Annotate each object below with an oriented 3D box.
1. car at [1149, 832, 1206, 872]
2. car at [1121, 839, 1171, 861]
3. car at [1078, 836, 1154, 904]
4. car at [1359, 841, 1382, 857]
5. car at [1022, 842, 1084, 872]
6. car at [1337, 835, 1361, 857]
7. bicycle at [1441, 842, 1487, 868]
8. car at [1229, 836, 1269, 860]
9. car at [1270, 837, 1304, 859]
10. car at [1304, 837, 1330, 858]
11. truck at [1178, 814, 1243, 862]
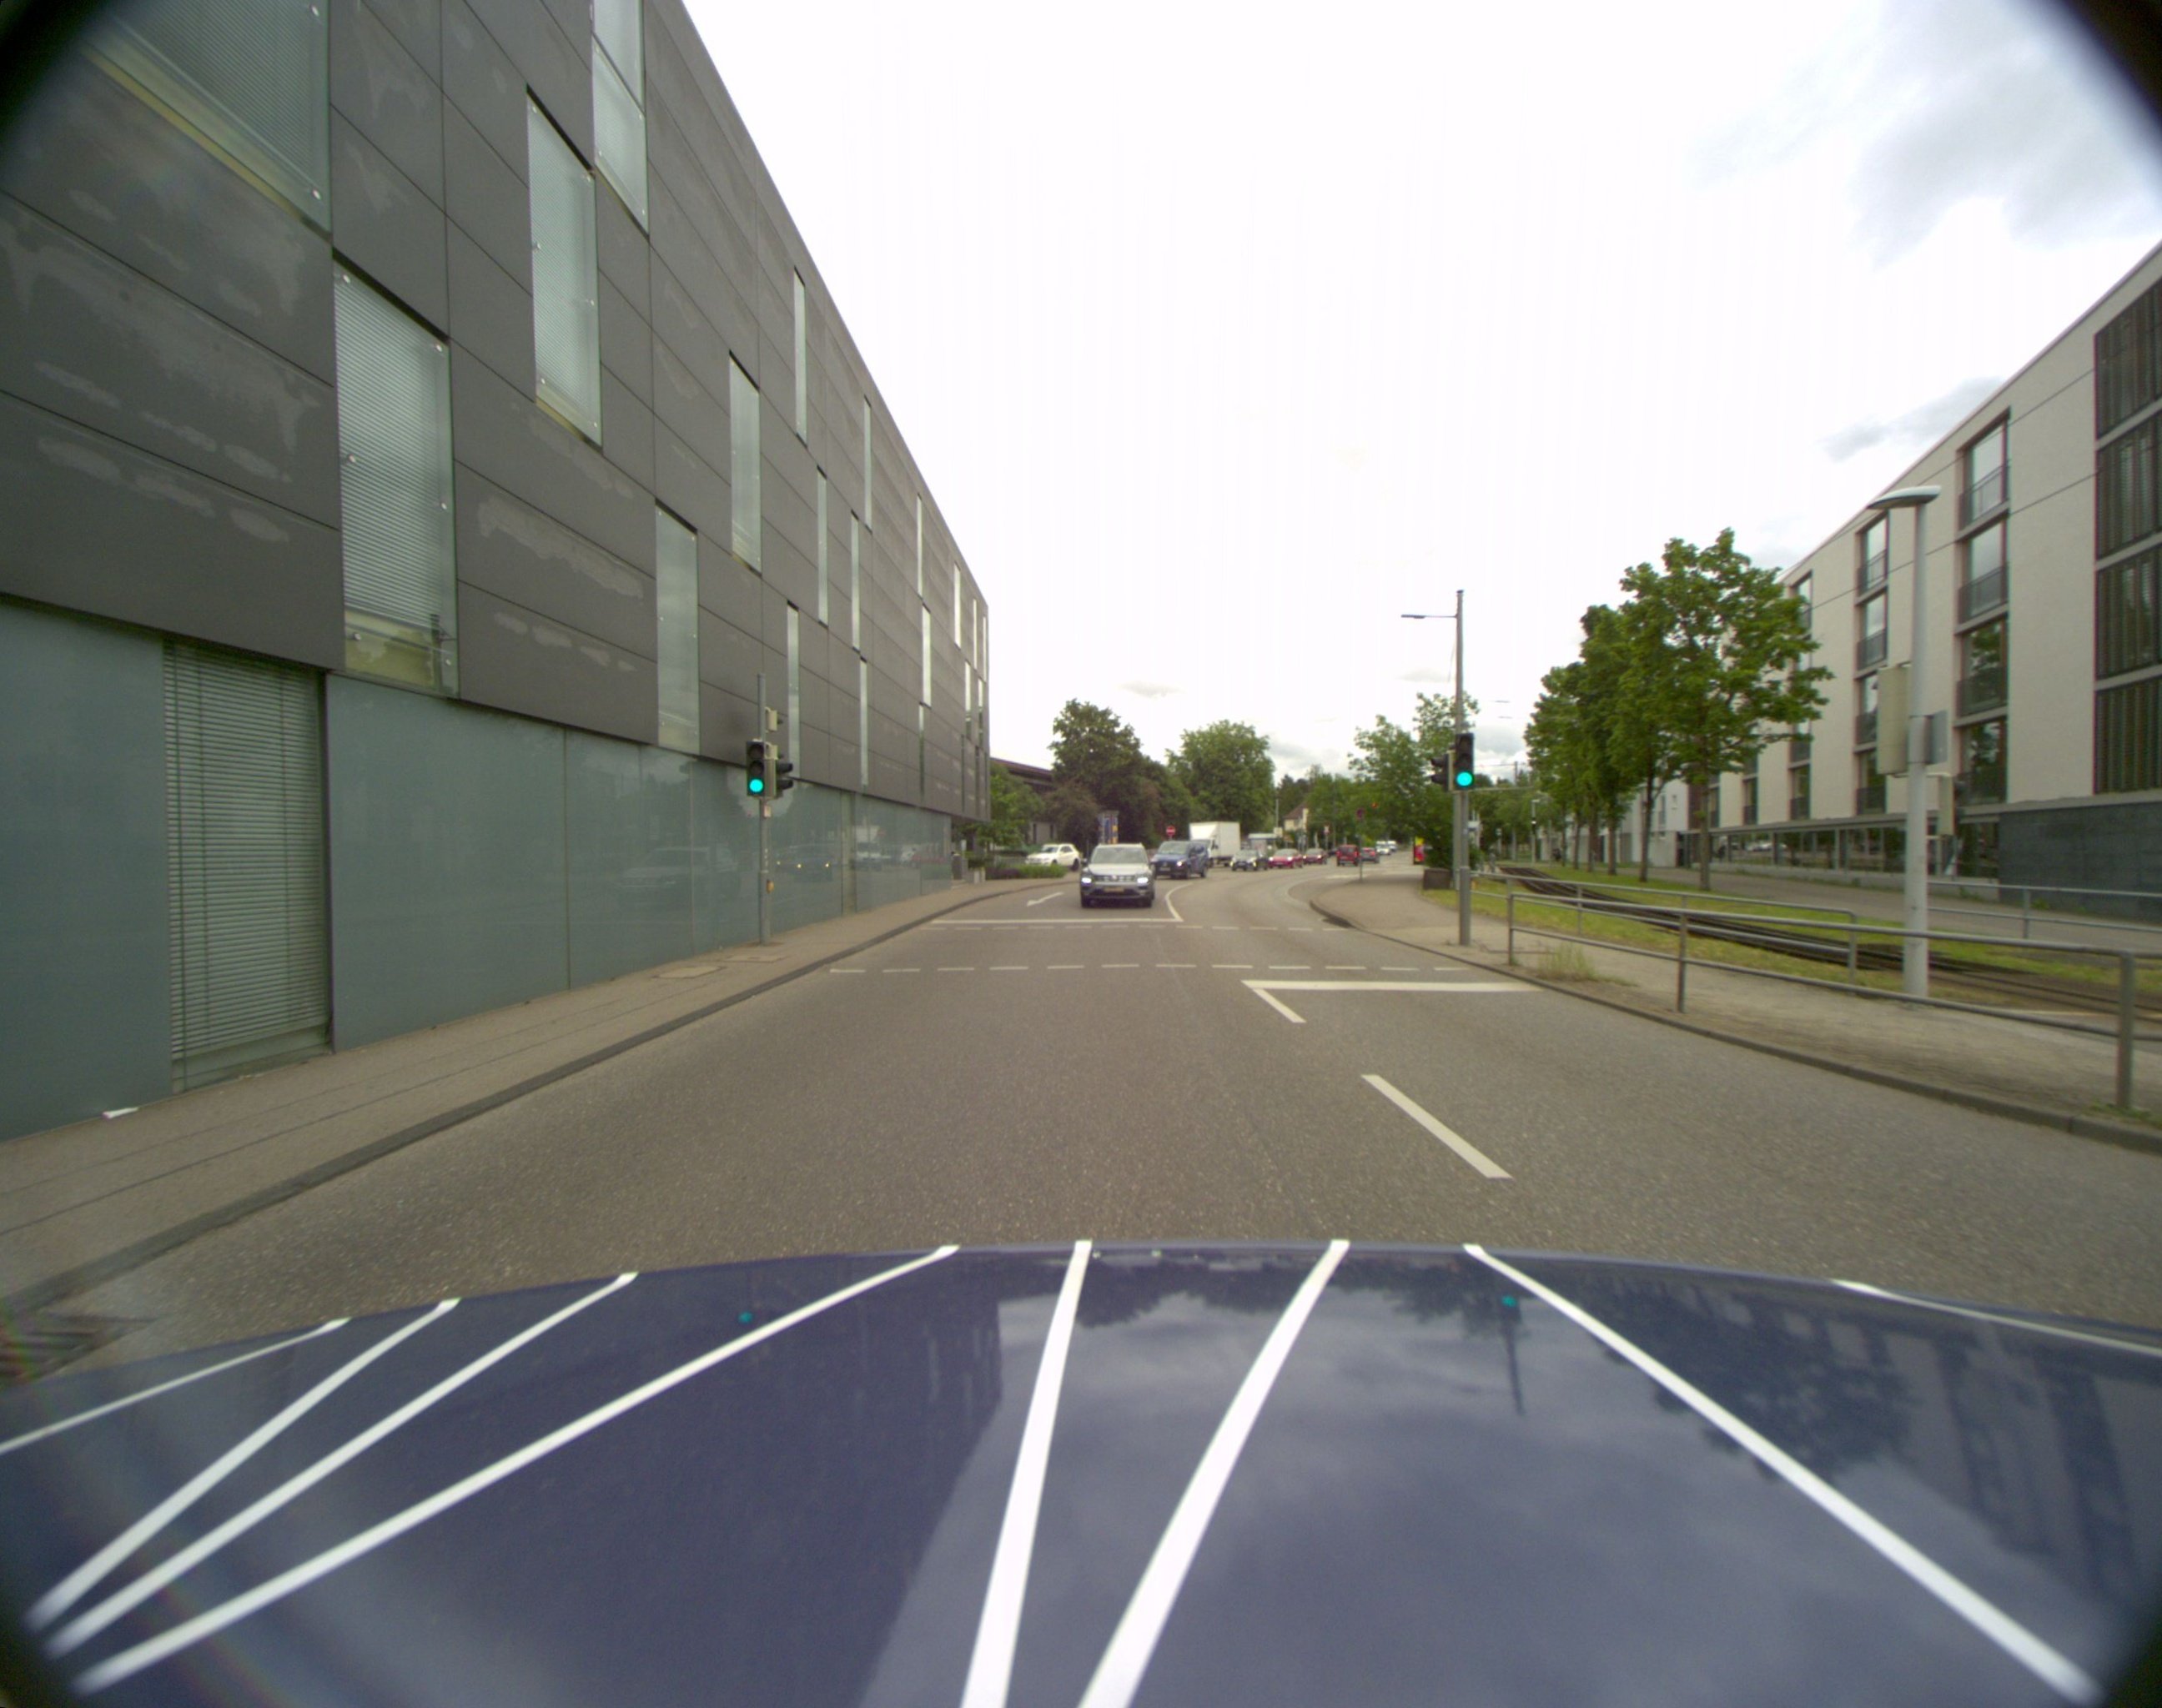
[{"bbox_3d":[4.847,-0.137,37.736,1.846,1.850,4.005,-1,2,22],"label":"car"},{"bbox_3d":[5.213,-0.342,61.270,3.894,1.475,1.683,-3,1,3],"label":"car"},{"bbox_3d":[1.063,0.347,20.738,1.810,1.638,4.331,-1,1,5],"label":"car"},{"bbox_3d":[28.456,-0.546,74.737,1.769,1.470,4.006,1,2,26],"label":"car"},{"bbox_3d":[-1.714,0.145,48.364,1.853,1.748,4.729,0,2,27],"label":"car"},{"bbox_3d":[23.259,-0.749,65.935,1.682,1.798,4.358,1,2,23],"label":"car"},{"bbox_3d":[16.577,0.044,32.891,1.749,1.040,0.409,-2,1,29],"label":"bicycle"},{"bbox_3d":[11.335,-0.397,51.134,1.846,1.526,4.006,1,1,23],"label":"car"},{"bbox_3d":[15.462,-0.470,56.837,1.846,1.526,4.006,1,1,23],"label":"car"},{"bbox_3d":[21.983,-0.623,70.738,1.846,1.850,4.264,0,2,24],"label":"car"},{"bbox_3d":[9.986,-1.306,57.872,2.536,3.407,7.787,0,2,28],"label":"truck"}]
